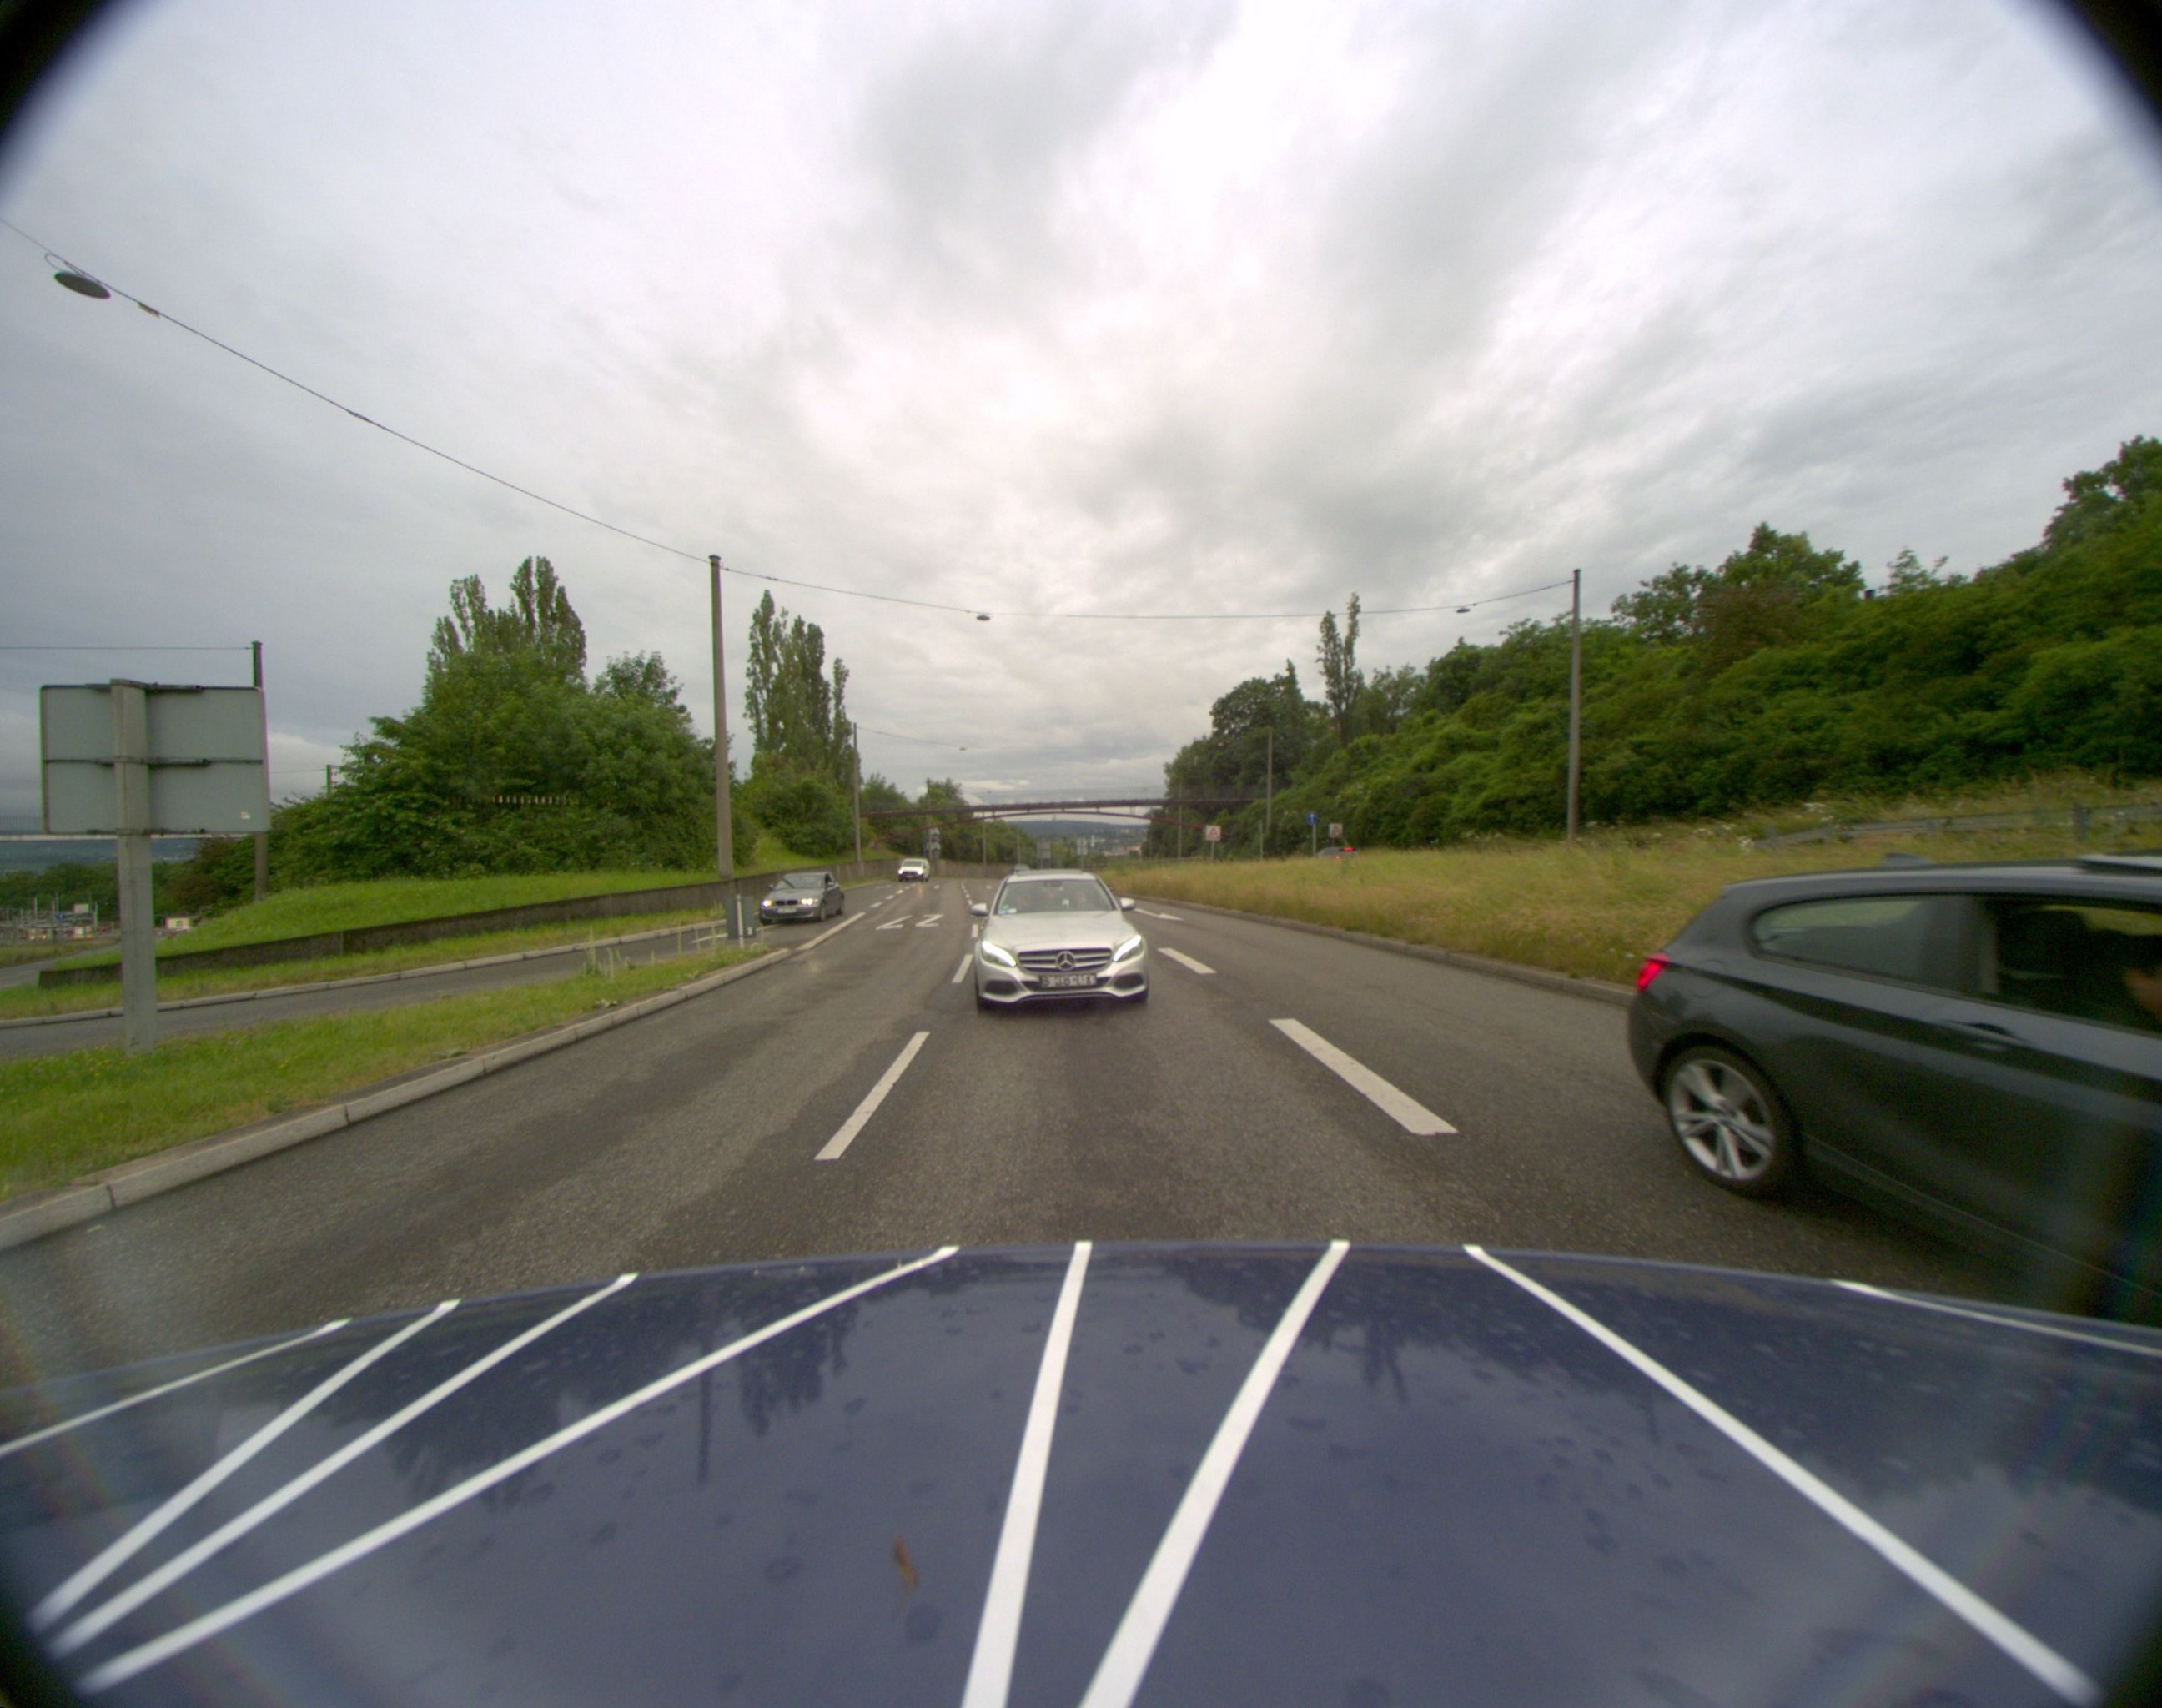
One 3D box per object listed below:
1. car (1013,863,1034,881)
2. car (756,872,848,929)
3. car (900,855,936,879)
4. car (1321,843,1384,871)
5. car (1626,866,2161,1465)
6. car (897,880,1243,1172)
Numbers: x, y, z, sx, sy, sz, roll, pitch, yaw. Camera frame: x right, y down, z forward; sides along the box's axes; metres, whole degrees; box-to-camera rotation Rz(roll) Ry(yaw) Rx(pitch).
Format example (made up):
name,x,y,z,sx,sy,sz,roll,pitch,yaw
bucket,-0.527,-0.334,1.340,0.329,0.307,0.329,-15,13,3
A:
name,x,y,z,sx,sy,sz,roll,pitch,yaw
car,-5.067,1.633,67.693,1.646,1.495,3.779,-3,-2,-2
car,-8.187,1.297,22.662,1.685,1.411,4.079,-3,0,-8
car,-13.203,1.010,61.883,1.999,1.837,4.822,0,1,-1
car,15.406,0.131,43.370,1.999,1.445,4.285,-2,1,0
car,3.639,0.836,1.781,1.707,1.451,4.113,-2,1,-1
car,-0.204,1.016,6.288,1.895,1.360,4.132,-2,1,-5
